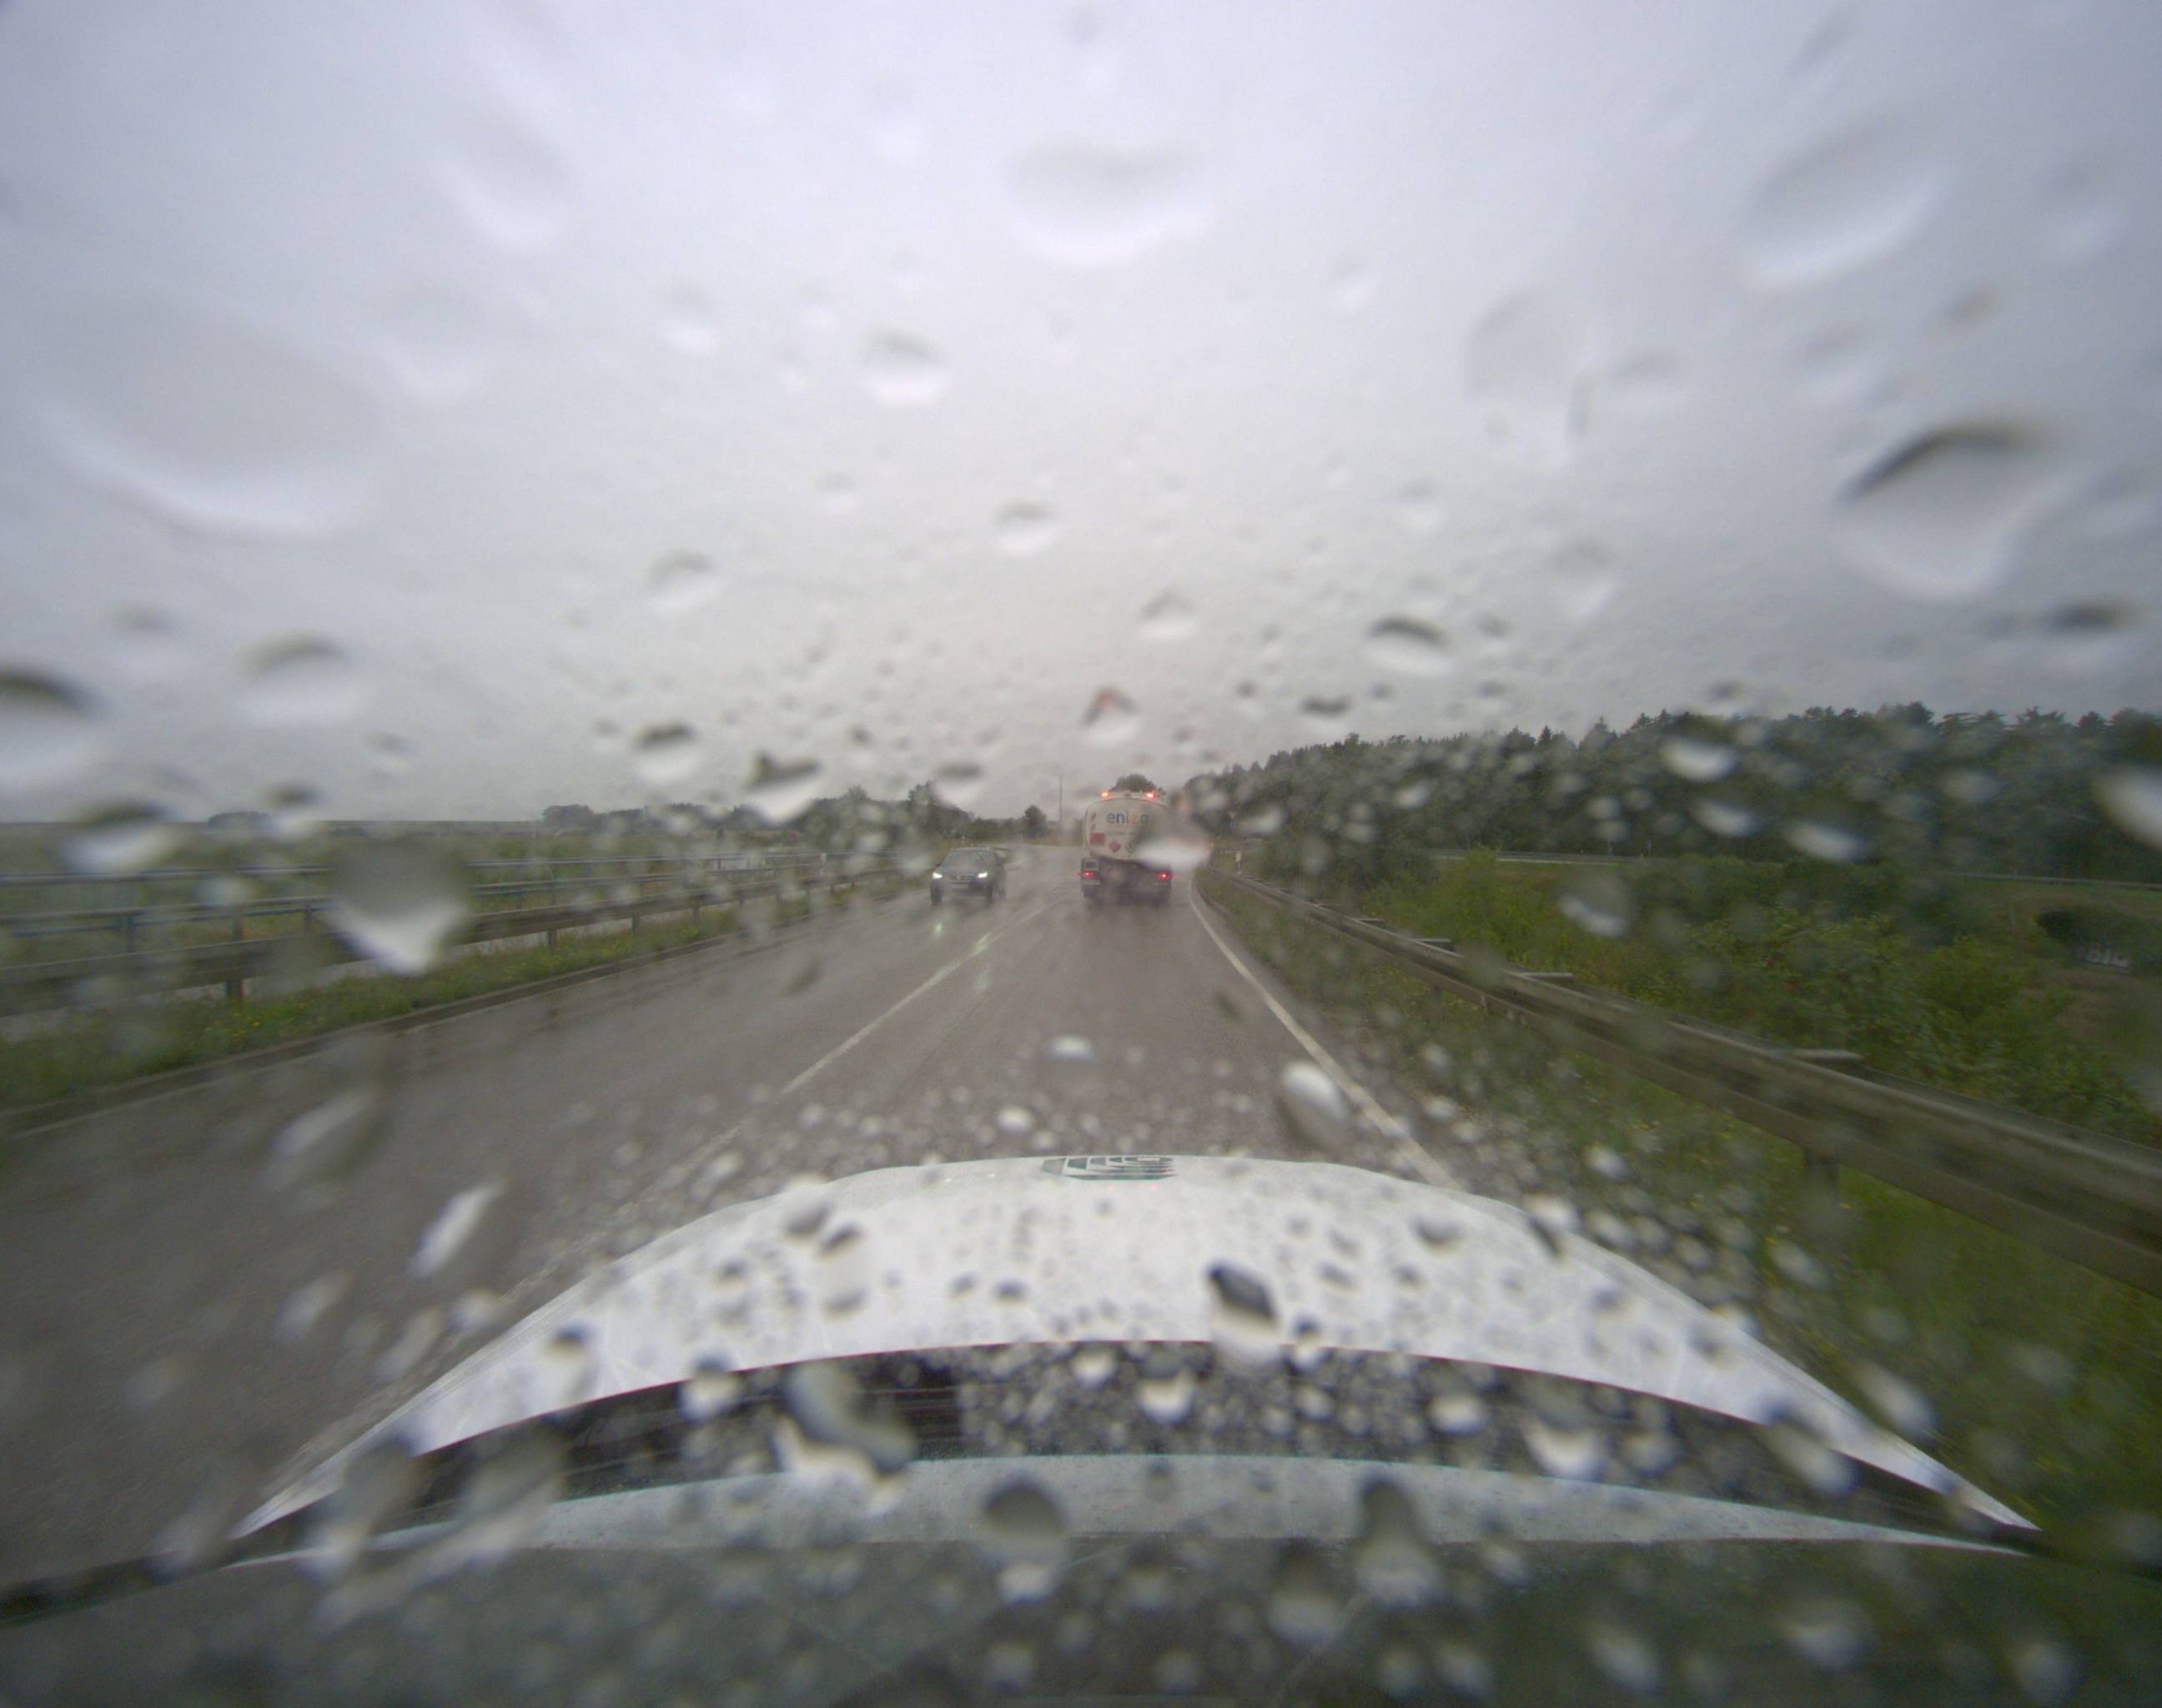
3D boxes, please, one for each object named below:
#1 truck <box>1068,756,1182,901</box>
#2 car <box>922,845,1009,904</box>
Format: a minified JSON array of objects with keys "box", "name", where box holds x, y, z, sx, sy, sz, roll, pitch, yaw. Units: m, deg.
[{"box":[1.540,-0.762,26.145,3.025,3.851,8.835,0,1,5],"name":"truck"},{"box":[-3.221,0.518,23.451,1.774,1.526,4.170,0,1,1],"name":"car"}]
